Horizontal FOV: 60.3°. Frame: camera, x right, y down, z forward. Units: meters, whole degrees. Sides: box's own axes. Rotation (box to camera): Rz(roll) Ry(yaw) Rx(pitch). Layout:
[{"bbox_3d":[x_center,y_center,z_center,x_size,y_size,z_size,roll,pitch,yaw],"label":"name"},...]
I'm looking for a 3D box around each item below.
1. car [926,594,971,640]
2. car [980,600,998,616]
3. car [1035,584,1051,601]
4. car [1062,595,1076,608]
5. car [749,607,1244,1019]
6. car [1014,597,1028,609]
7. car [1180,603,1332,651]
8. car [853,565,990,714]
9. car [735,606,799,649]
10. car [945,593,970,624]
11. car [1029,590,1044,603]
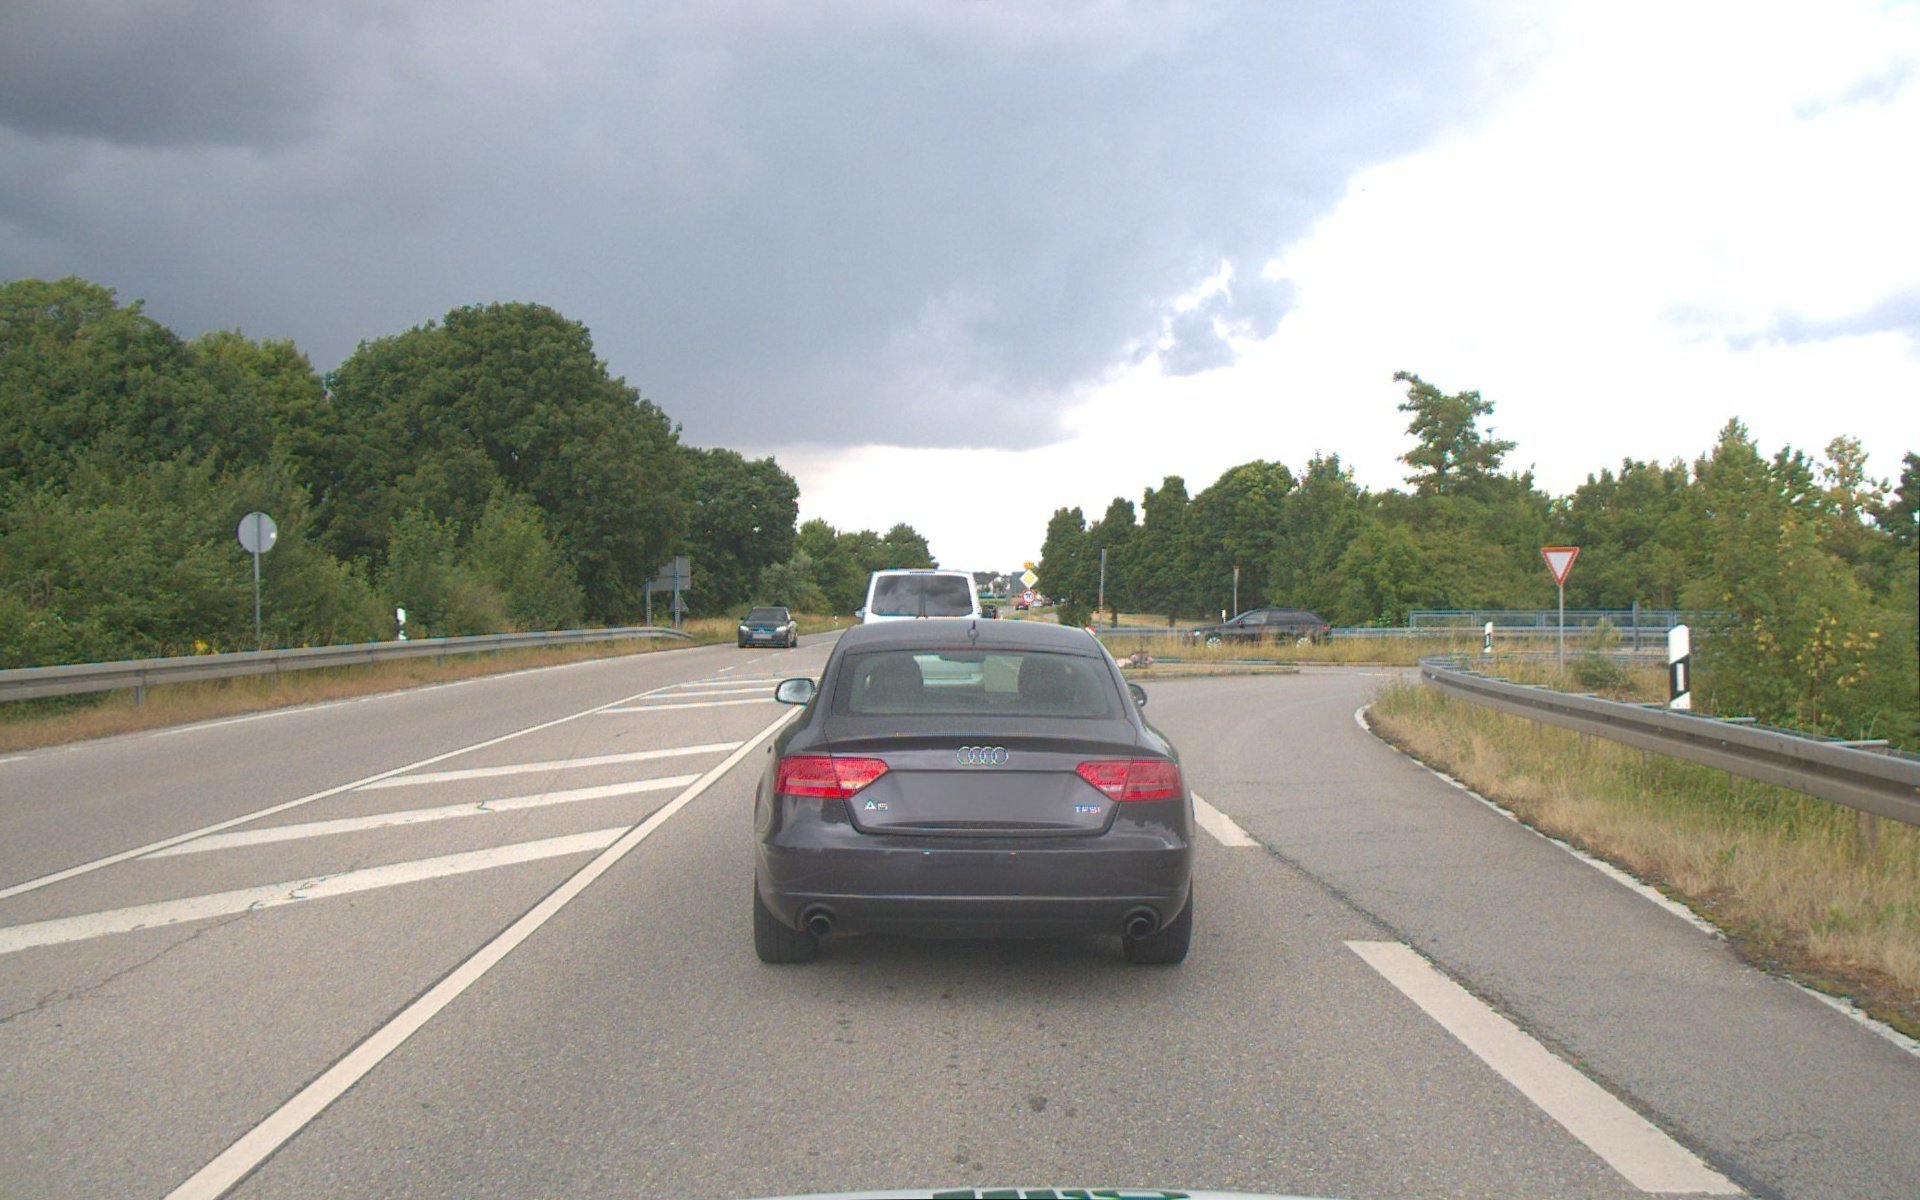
[{"bbox_3d":[-0.512,0.783,79.135,2.038,2.101,4.876,1,0,0],"label":"car"},{"bbox_3d":[3.325,0.944,190.917,1.952,1.721,4.001,1,0,2],"label":"car"},{"bbox_3d":[10.637,-0.959,212.733,1.952,2.049,4.001,1,0,1],"label":"car"},{"bbox_3d":[14.862,0.256,224.779,1.836,1.721,4.002,1,0,4],"label":"car"},{"bbox_3d":[0.084,0.756,7.502,1.744,1.423,3.335,0,0,-2],"label":"car"},{"bbox_3d":[9.205,0.464,250.177,1.952,1.721,4.001,1,0,1],"label":"car"},{"bbox_3d":[9.155,0.804,51.038,4.468,1.356,1.703,1,0,16],"label":"car"},{"bbox_3d":[-0.584,0.527,24.908,1.872,2.049,3.999,1,0,-2],"label":"car"},{"bbox_3d":[-6.857,0.972,58.968,1.760,1.423,3.484,1,0,2],"label":"car"},{"bbox_3d":[-0.167,0.712,135.890,1.953,2.450,4.000,2,0,0],"label":"car"},{"bbox_3d":[10.706,-0.527,231.725,1.952,1.721,4.001,1,0,1],"label":"car"}]
